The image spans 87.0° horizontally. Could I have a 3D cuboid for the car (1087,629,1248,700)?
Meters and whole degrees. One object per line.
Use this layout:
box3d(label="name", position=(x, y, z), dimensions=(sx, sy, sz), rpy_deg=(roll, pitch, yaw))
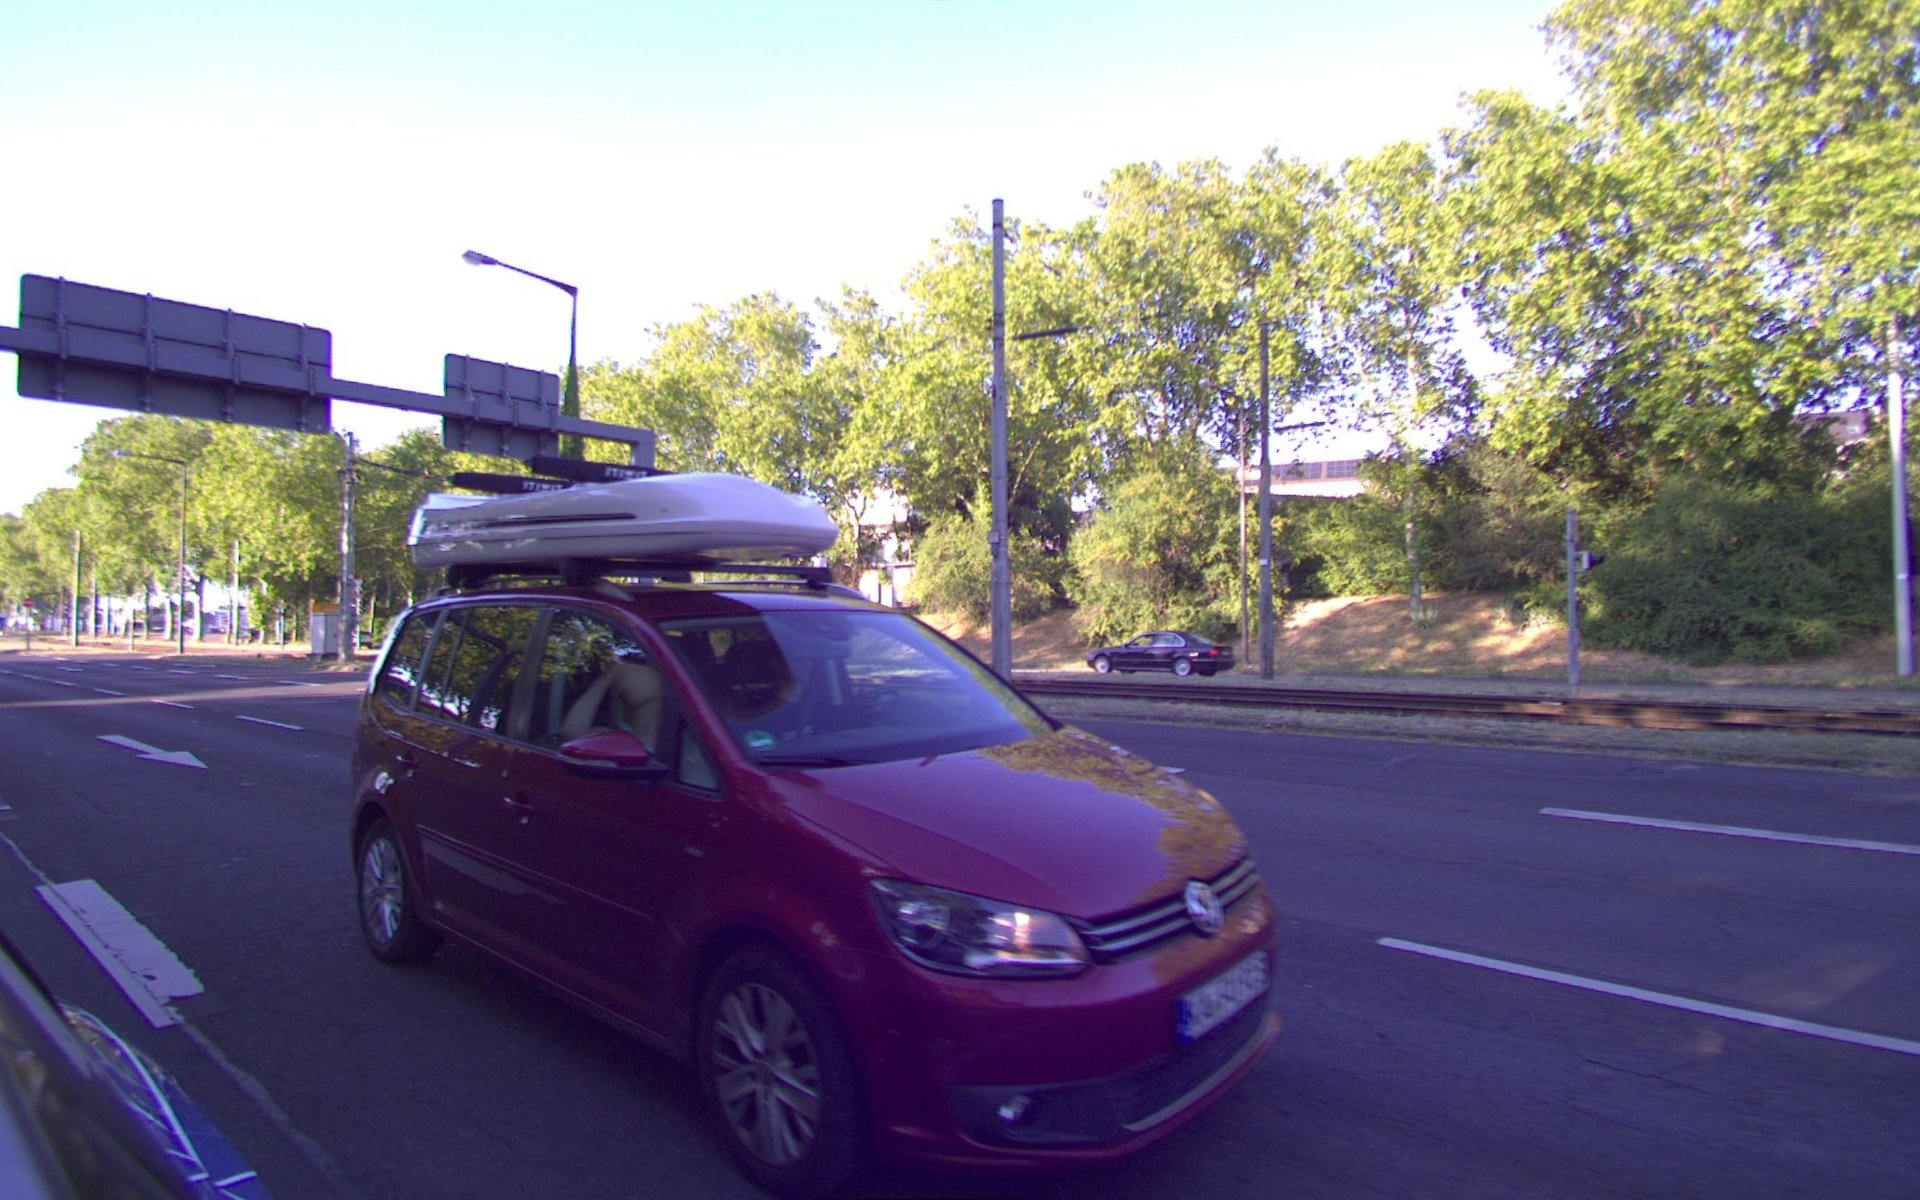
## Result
box3d(label="car", position=(6.329, 1.974, 31.187), dimensions=(4.507, 2.029, 1.901), rpy_deg=(-2, -5, 38))

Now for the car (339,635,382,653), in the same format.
box3d(label="car", position=(-52.064, 3.808, 87.842), dimensions=(4.188, 1.452, 1.973), rpy_deg=(-2, -4, 41))

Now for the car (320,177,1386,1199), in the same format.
box3d(label="car", position=(-0.729, 0.351, 3.886), dimensions=(3.998, 2.121, 1.773), rpy_deg=(-2, -5, 41))

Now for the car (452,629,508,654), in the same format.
box3d(label="car", position=(-33.093, 2.863, 69.737), dimensions=(4.190, 1.694, 1.972), rpy_deg=(-2, -4, 42))

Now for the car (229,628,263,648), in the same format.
box3d(label="car", position=(-74.188, 3.967, 105.151), dimensions=(4.190, 2.082, 1.972), rpy_deg=(-2, -4, 42))
